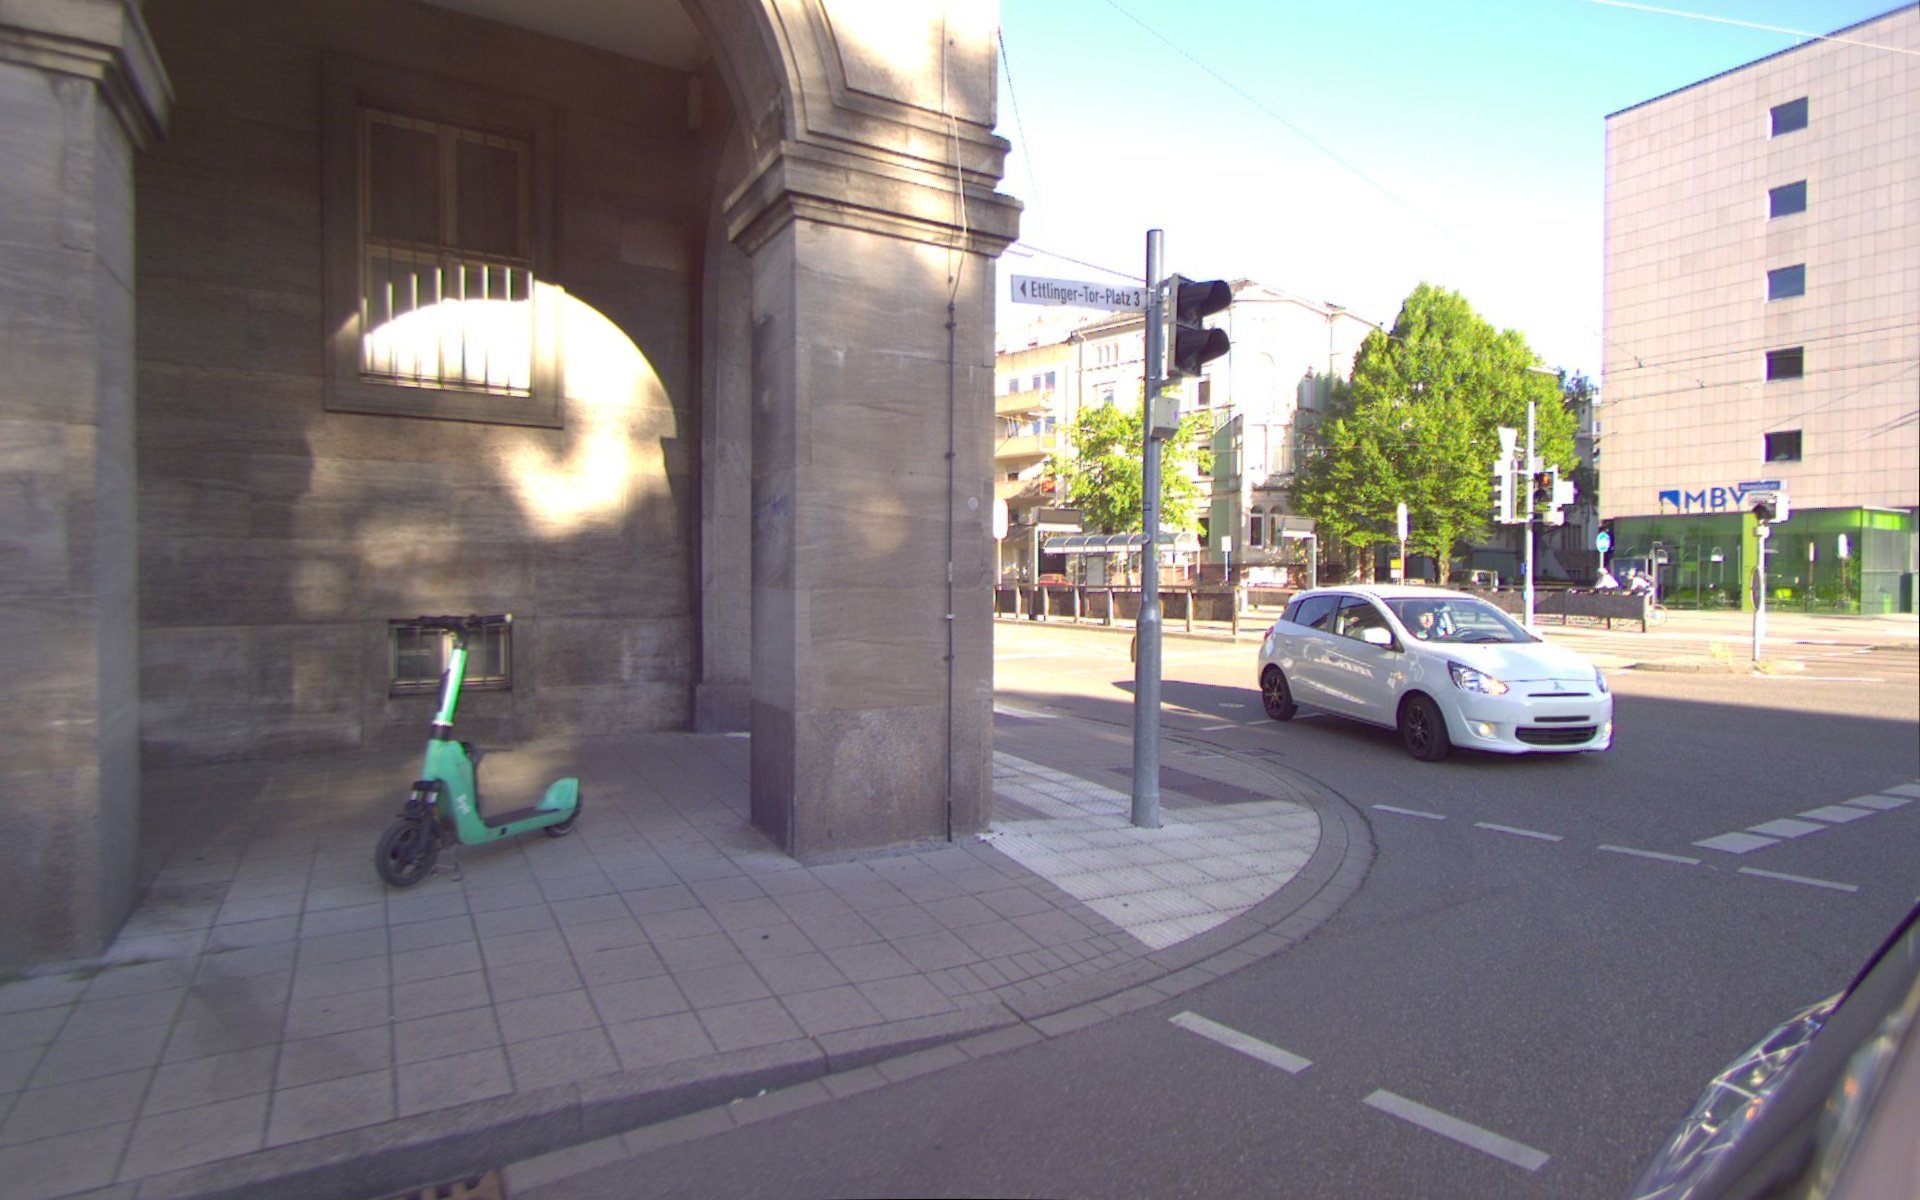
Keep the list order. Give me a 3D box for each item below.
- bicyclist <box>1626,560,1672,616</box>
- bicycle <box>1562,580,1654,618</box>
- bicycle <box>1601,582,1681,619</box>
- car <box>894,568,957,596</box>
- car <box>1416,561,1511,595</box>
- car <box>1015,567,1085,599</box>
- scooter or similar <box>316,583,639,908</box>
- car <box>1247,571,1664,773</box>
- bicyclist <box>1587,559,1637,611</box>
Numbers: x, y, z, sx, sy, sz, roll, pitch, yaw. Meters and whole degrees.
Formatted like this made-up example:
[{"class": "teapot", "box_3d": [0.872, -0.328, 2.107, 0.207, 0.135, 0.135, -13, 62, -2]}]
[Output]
[{"class": "bicyclist", "box_3d": [21.438, -0.387, 31.515, 0.933, 1.710, 0.761, 1, 4, 16]}, {"class": "bicycle", "box_3d": [19.553, -0.035, 30.561, 2.144, 1.080, 0.884, 0, 4, 5]}, {"class": "bicycle", "box_3d": [21.216, 0.001, 31.575, 1.881, 1.080, 0.752, 1, 4, 17]}, {"class": "car", "box_3d": [-2.156, -1.152, 63.154, 1.712, 1.604, 3.991, -3, 4, -43]}, {"class": "car", "box_3d": [25.618, -1.163, 51.593, 1.708, 1.604, 4.001, -3, 3, -35]}, {"class": "car", "box_3d": [4.953, -0.979, 55.680, 1.735, 1.604, 3.937, 1, 4, 45]}, {"class": "scooter or similar", "box_3d": [-2.192, 0.573, 4.741, 0.635, 1.238, 1.254, 3, 4, 24]}, {"class": "car", "box_3d": [4.512, 0.507, 9.918, 1.645, 1.482, 3.774, -2, 3, -13]}, {"class": "bicyclist", "box_3d": [19.658, -0.458, 30.516, 0.891, 1.524, 0.889, 0, 4, 4]}]
